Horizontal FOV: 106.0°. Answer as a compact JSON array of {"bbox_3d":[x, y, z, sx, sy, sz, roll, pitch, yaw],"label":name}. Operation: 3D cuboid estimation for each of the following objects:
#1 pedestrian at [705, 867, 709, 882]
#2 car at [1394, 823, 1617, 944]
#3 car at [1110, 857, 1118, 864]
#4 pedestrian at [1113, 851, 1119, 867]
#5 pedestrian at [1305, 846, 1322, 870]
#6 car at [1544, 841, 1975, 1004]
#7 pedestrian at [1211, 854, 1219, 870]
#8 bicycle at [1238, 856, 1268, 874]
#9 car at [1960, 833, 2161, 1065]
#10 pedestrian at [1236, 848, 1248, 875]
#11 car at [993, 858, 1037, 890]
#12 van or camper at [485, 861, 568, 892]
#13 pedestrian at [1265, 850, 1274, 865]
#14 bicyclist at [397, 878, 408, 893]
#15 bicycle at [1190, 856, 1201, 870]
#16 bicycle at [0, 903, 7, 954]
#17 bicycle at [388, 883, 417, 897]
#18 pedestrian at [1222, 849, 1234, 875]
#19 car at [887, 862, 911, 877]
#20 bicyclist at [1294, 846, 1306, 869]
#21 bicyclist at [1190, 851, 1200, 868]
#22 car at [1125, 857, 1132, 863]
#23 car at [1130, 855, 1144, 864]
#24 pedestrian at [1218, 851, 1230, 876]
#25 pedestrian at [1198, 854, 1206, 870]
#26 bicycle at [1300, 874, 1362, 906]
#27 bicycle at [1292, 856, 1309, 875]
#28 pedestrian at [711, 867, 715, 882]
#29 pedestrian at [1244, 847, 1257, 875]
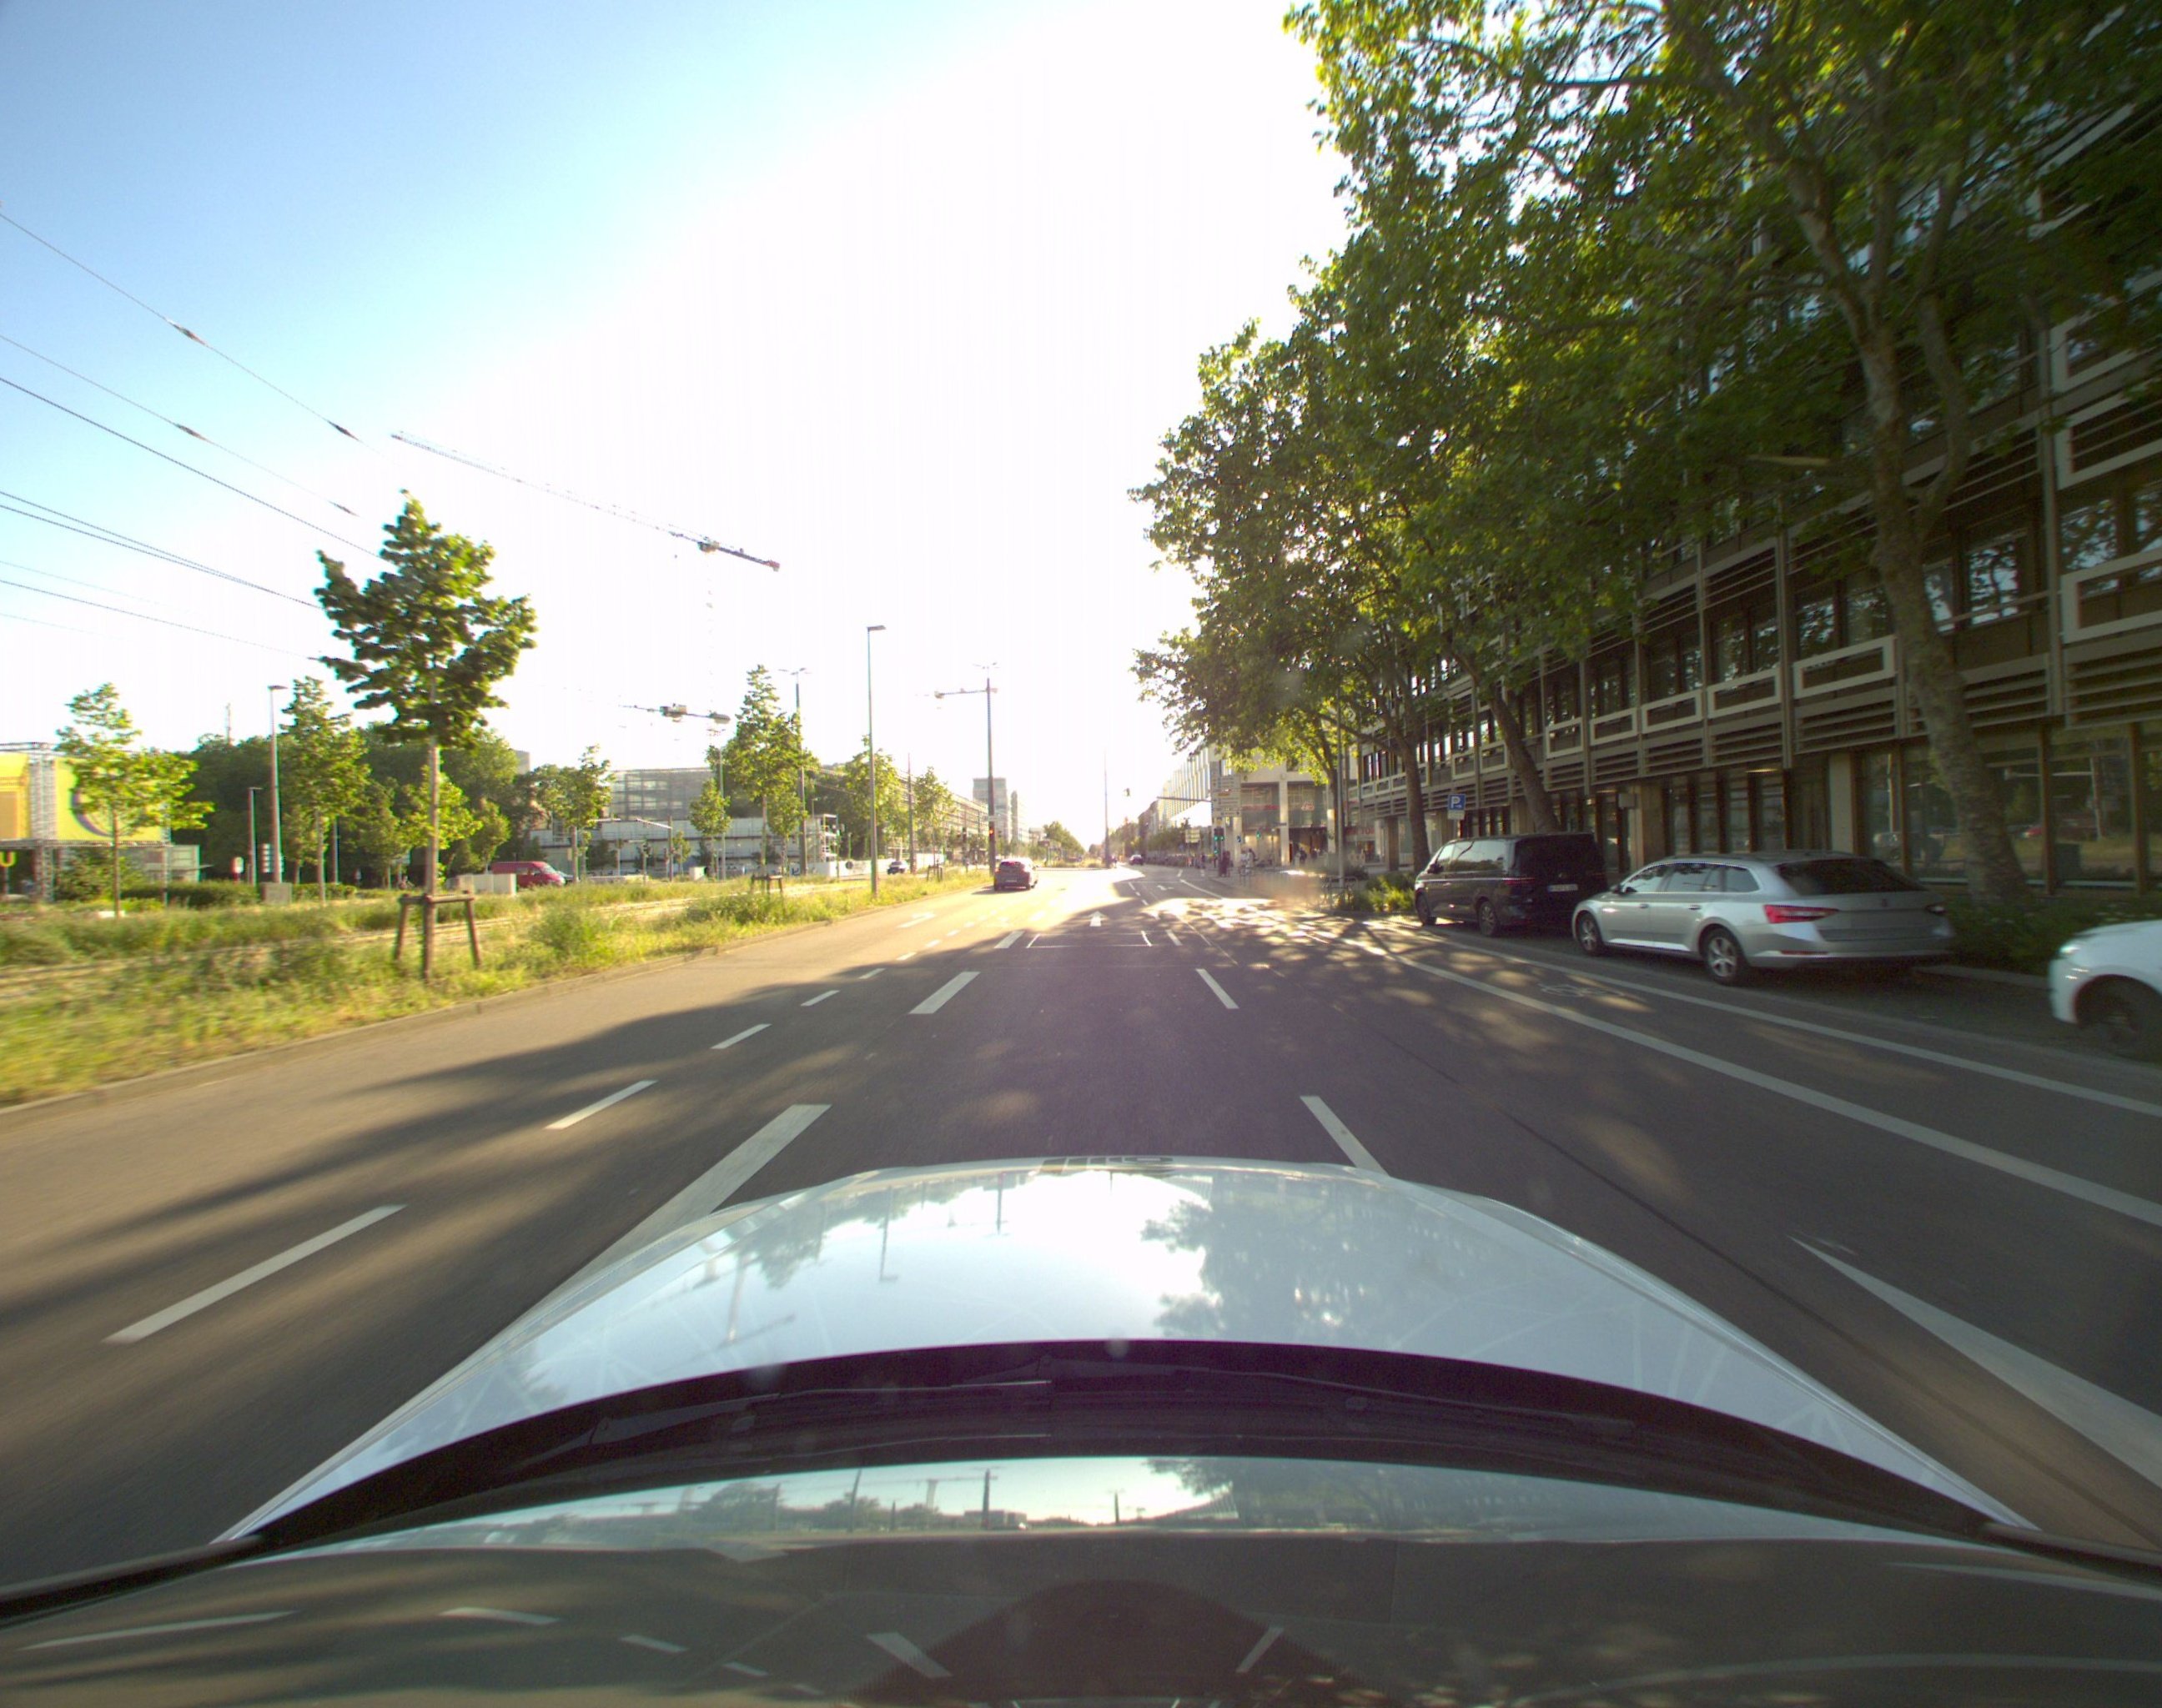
[{"bbox_3d":[-37.527,2.072,81.730,0.273,1.465,0.278,-1,0,-9],"label":"pedestrian"},{"bbox_3d":[8.361,0.505,16.741,1.822,1.971,5.323,-4,0,2],"label":"car"},{"bbox_3d":[7.837,1.512,195.008,1.753,1.485,3.849,-2,0,0],"label":"car"},{"bbox_3d":[3.909,0.600,90.772,0.492,1.743,0.446,-2,0,-9],"label":"pedestrian"},{"bbox_3d":[16.461,0.282,57.655,0.905,1.703,1.114,-2,0,2],"label":"pedestrian"},{"bbox_3d":[8.099,0.668,10.546,1.673,1.514,5.067,-4,0,5],"label":"car"},{"bbox_3d":[15.053,0.899,91.411,0.813,1.734,0.791,-2,0,5],"label":"pedestrian"},{"bbox_3d":[11.220,0.727,53.128,1.796,1.086,0.479,-3,0,2],"label":"bicycle"},{"bbox_3d":[8.020,0.621,4.716,1.675,1.478,3.876,-4,0,2],"label":"car"},{"bbox_3d":[12.645,0.586,63.881,0.762,2.060,0.799,-3,0,8],"label":"pedestrian"},{"bbox_3d":[-3.101,0.902,38.905,1.771,1.428,3.999,-1,0,0],"label":"car"},{"bbox_3d":[-48.114,1.932,70.735,5.637,2.414,2.156,-2,0,2],"label":"van or camper"},{"bbox_3d":[21.647,0.400,93.611,0.866,1.585,0.825,-3,0,5],"label":"pedestrian"},{"bbox_3d":[-50.938,2.352,61.111,0.410,1.142,0.504,-2,0,-4],"label":"bicyclist"},{"bbox_3d":[10.830,0.848,77.209,0.794,1.204,2.272,-1,0,13],"label":"bicycle"},{"bbox_3d":[-24.060,1.647,17.002,0.581,1.105,1.988,-1,0,2],"label":"bicycle"},{"bbox_3d":[-50.888,2.727,61.108,1.650,0.971,0.506,-2,0,-5],"label":"bicycle"},{"bbox_3d":[9.761,0.537,54.191,0.631,1.703,0.570,-3,0,2],"label":"pedestrian"},{"bbox_3d":[-22.892,1.940,102.709,1.986,1.776,4.001,-2,0,1],"label":"car"},{"bbox_3d":[14.762,0.246,54.846,0.576,1.522,0.750,-1,0,2],"label":"bicyclist"},{"bbox_3d":[10.803,0.545,77.166,0.794,1.602,0.788,-1,0,13],"label":"bicyclist"},{"bbox_3d":[12.768,1.640,220.113,1.698,1.428,3.924,-2,0,0],"label":"car"},{"bbox_3d":[9.415,0.878,136.622,1.934,1.428,3.924,-2,0,0],"label":"car"},{"bbox_3d":[9.413,0.649,53.690,0.631,1.608,0.570,-3,0,2],"label":"pedestrian"},{"bbox_3d":[13.612,0.902,91.524,0.813,1.734,0.791,-2,0,5],"label":"pedestrian"},{"bbox_3d":[7.570,1.088,24.708,1.682,0.867,0.574,-3,0,9],"label":"bicycle"},{"bbox_3d":[14.769,0.766,54.779,0.589,1.232,2.155,-1,0,2],"label":"bicycle"},{"bbox_3d":[-36.910,2.075,81.740,0.273,1.465,0.316,-1,0,-3],"label":"pedestrian"},{"bbox_3d":[10.832,0.447,52.027,0.631,1.703,0.570,-3,0,2],"label":"pedestrian"}]
